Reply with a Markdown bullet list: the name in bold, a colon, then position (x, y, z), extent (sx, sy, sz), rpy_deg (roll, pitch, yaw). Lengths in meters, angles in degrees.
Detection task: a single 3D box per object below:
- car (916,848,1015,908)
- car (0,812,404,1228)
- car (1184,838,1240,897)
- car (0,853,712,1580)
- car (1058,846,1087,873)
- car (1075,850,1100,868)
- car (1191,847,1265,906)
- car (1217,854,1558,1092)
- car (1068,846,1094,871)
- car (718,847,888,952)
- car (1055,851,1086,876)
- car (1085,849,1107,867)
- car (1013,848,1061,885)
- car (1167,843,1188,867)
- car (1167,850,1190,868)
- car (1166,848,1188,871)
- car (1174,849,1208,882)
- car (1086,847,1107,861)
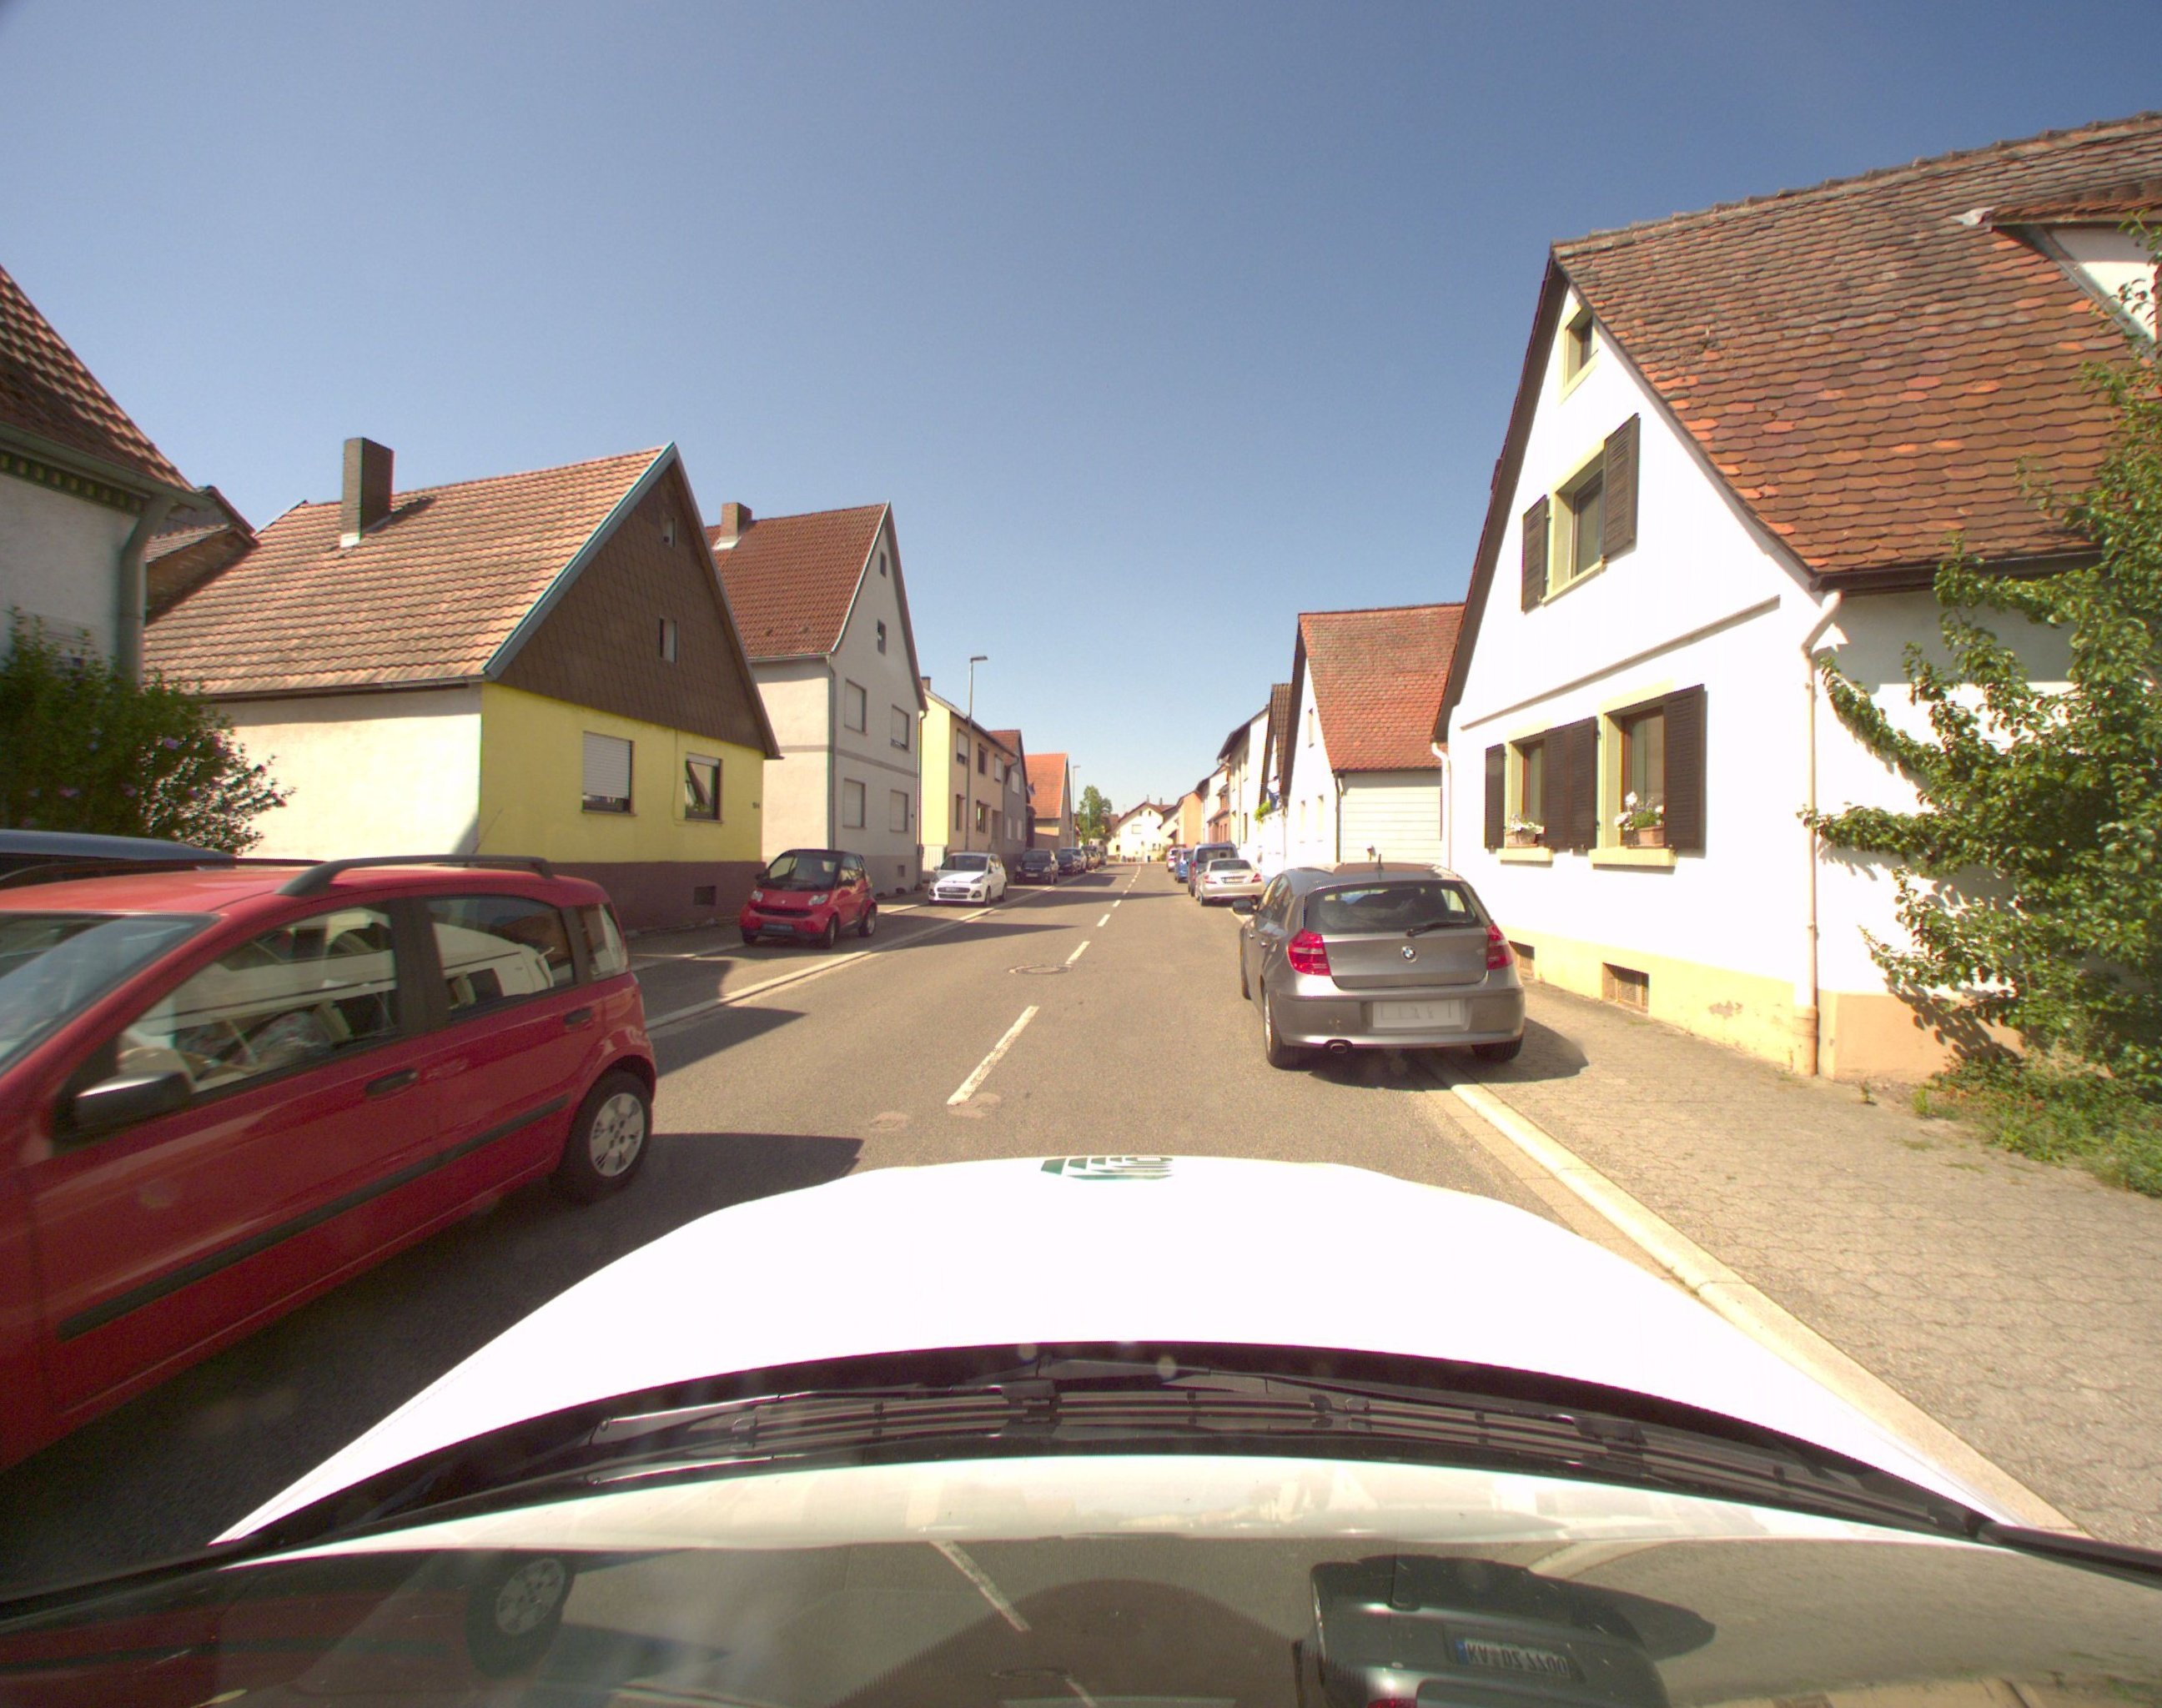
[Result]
- **car**: position (-3.270, 0.643, 23.954), extent (1.797, 1.548, 4.411), rpy_deg (1, 0, 6)
- **car**: position (-5.273, 0.632, 2.609), extent (1.862, 1.636, 4.674), rpy_deg (1, 0, 8)
- **car**: position (4.538, 0.443, 28.647), extent (1.642, 1.910, 3.630), rpy_deg (1, 0, 5)
- **car**: position (-2.966, 0.758, 2.659), extent (1.593, 1.489, 3.630), rpy_deg (1, 0, 5)
- **car**: position (-0.533, 0.349, 53.485), extent (1.520, 1.713, 3.630), rpy_deg (1, 0, 5)
- **car**: position (0.543, 0.440, 66.584), extent (1.746, 1.442, 4.004), rpy_deg (0, -1, 4)
- **car**: position (4.161, 0.609, 23.533), extent (1.697, 1.496, 3.457), rpy_deg (-3, 0, 5)
- **car**: position (2.200, 0.744, 6.964), extent (1.696, 1.433, 3.894), rpy_deg (-2, 0, 5)
- **car**: position (0.012, 0.297, 59.202), extent (1.520, 1.713, 3.630), rpy_deg (1, 0, 5)
- **car**: position (-4.561, 0.683, 13.786), extent (1.544, 1.544, 2.993), rpy_deg (1, 0, 6)
- **car**: position (-0.606, 0.592, 49.104), extent (1.497, 1.453, 3.514), rpy_deg (0, -1, 6)
- **car**: position (1.355, 0.345, 74.269), extent (1.746, 1.624, 4.005), rpy_deg (0, -1, 5)
- **car**: position (-1.947, 0.531, 37.219), extent (1.611, 1.577, 3.966), rpy_deg (1, 0, 5)
- **car**: position (8.271, 0.118, 70.168), extent (1.758, 2.004, 3.455), rpy_deg (0, -1, 6)
- **car**: position (7.701, 0.400, 64.774), extent (1.758, 1.433, 3.455), rpy_deg (0, -1, 6)
- **car**: position (6.723, 0.369, 57.073), extent (1.414, 1.515, 3.308), rpy_deg (1, 0, 5)
- **car**: position (5.302, 0.524, 39.431), extent (1.414, 1.515, 3.308), rpy_deg (1, 0, 5)
- **car**: position (1.611, 0.025, 83.735), extent (1.745, 1.442, 4.007), rpy_deg (0, -1, 6)
